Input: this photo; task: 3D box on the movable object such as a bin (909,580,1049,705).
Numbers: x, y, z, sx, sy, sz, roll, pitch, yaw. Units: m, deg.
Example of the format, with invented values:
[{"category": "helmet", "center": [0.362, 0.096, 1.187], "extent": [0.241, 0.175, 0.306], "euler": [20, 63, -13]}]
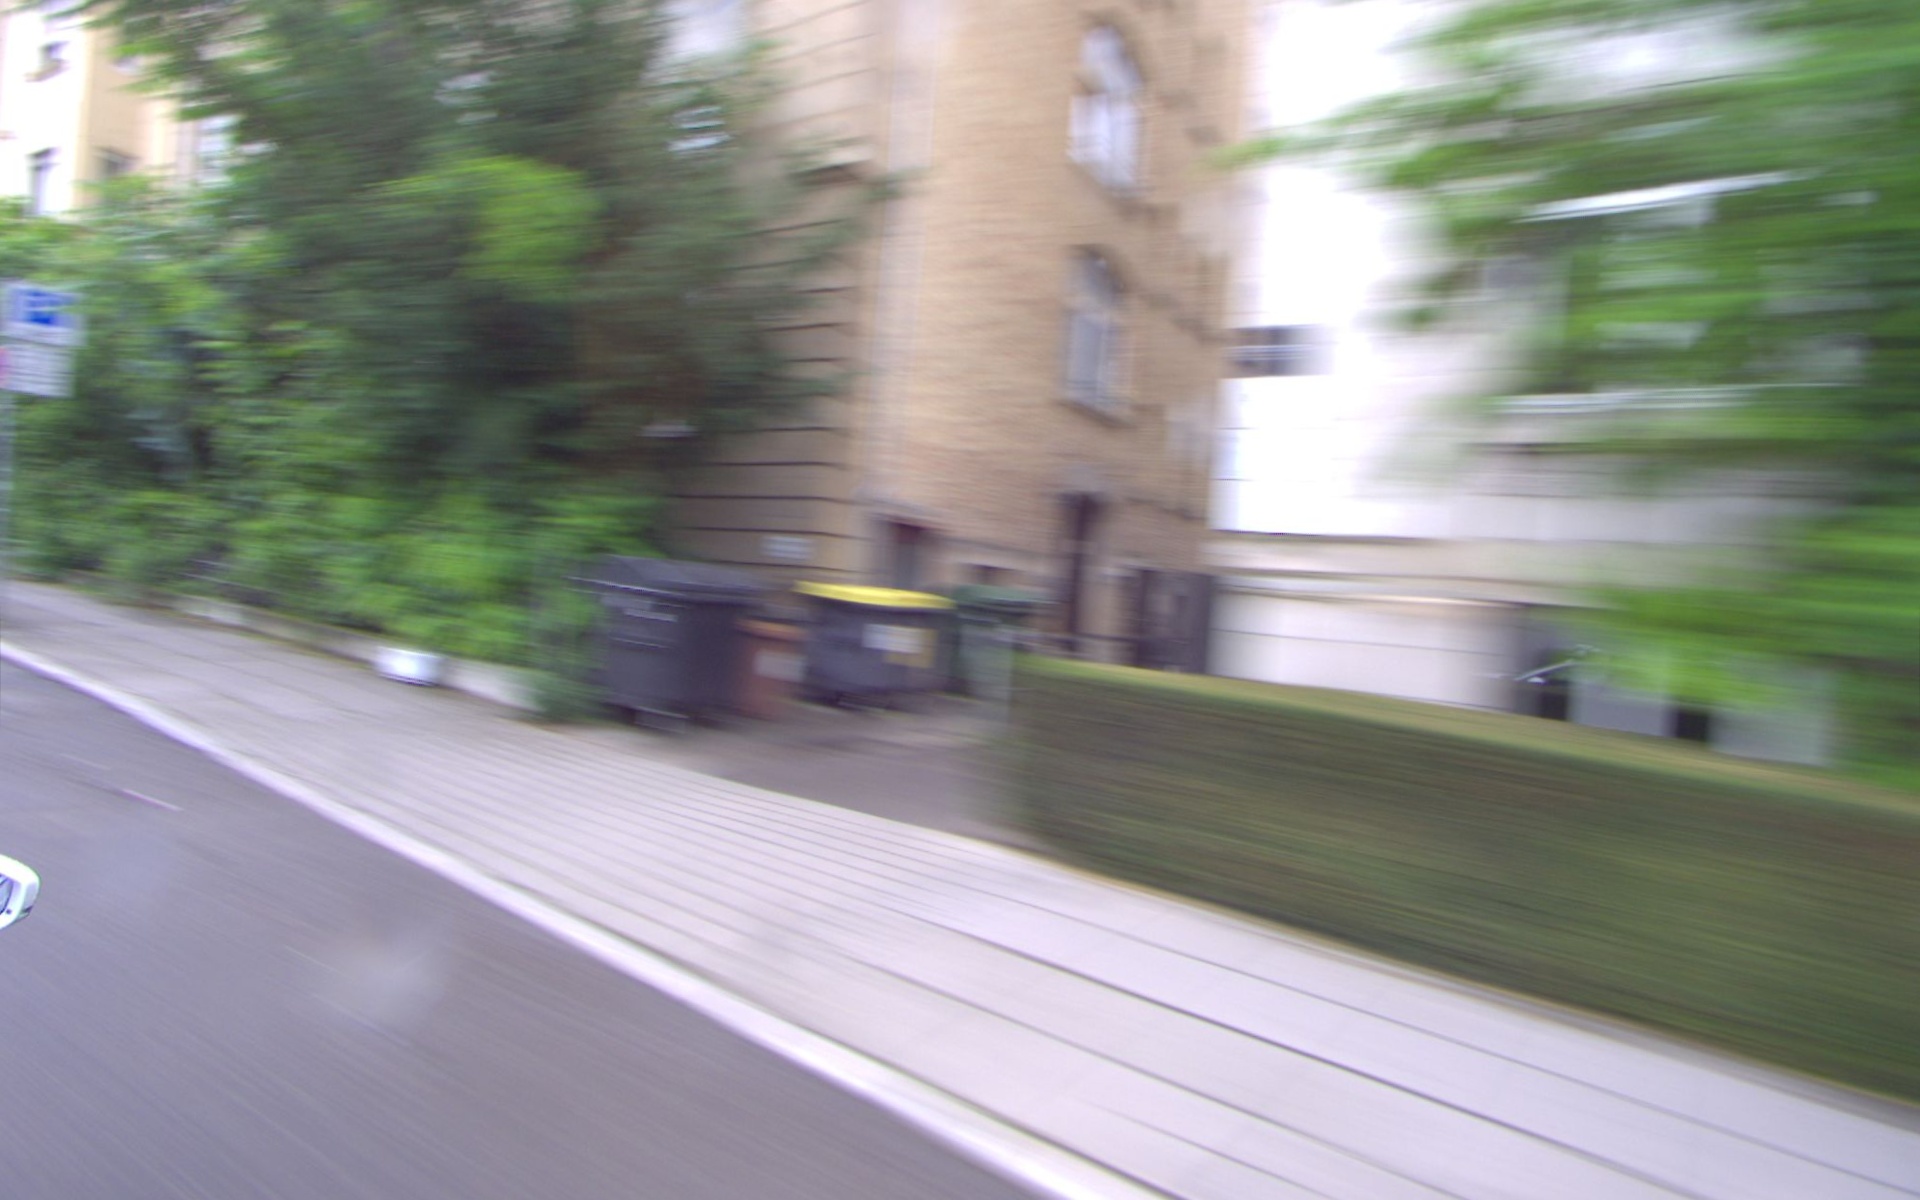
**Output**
[{"category": "movable object such as a bin", "center": [0.255, 0.528, 13.223], "extent": [1.286, 1.444, 1.230], "euler": [7, 3, 33]}]

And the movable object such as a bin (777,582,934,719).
[{"category": "movable object such as a bin", "center": [-1.150, 0.533, 11.200], "extent": [1.149, 1.326, 1.217], "euler": [7, 3, 33]}]

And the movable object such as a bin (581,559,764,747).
[{"category": "movable object such as a bin", "center": [-2.465, 0.422, 8.721], "extent": [0.808, 1.422, 1.226], "euler": [8, 4, 26]}]
